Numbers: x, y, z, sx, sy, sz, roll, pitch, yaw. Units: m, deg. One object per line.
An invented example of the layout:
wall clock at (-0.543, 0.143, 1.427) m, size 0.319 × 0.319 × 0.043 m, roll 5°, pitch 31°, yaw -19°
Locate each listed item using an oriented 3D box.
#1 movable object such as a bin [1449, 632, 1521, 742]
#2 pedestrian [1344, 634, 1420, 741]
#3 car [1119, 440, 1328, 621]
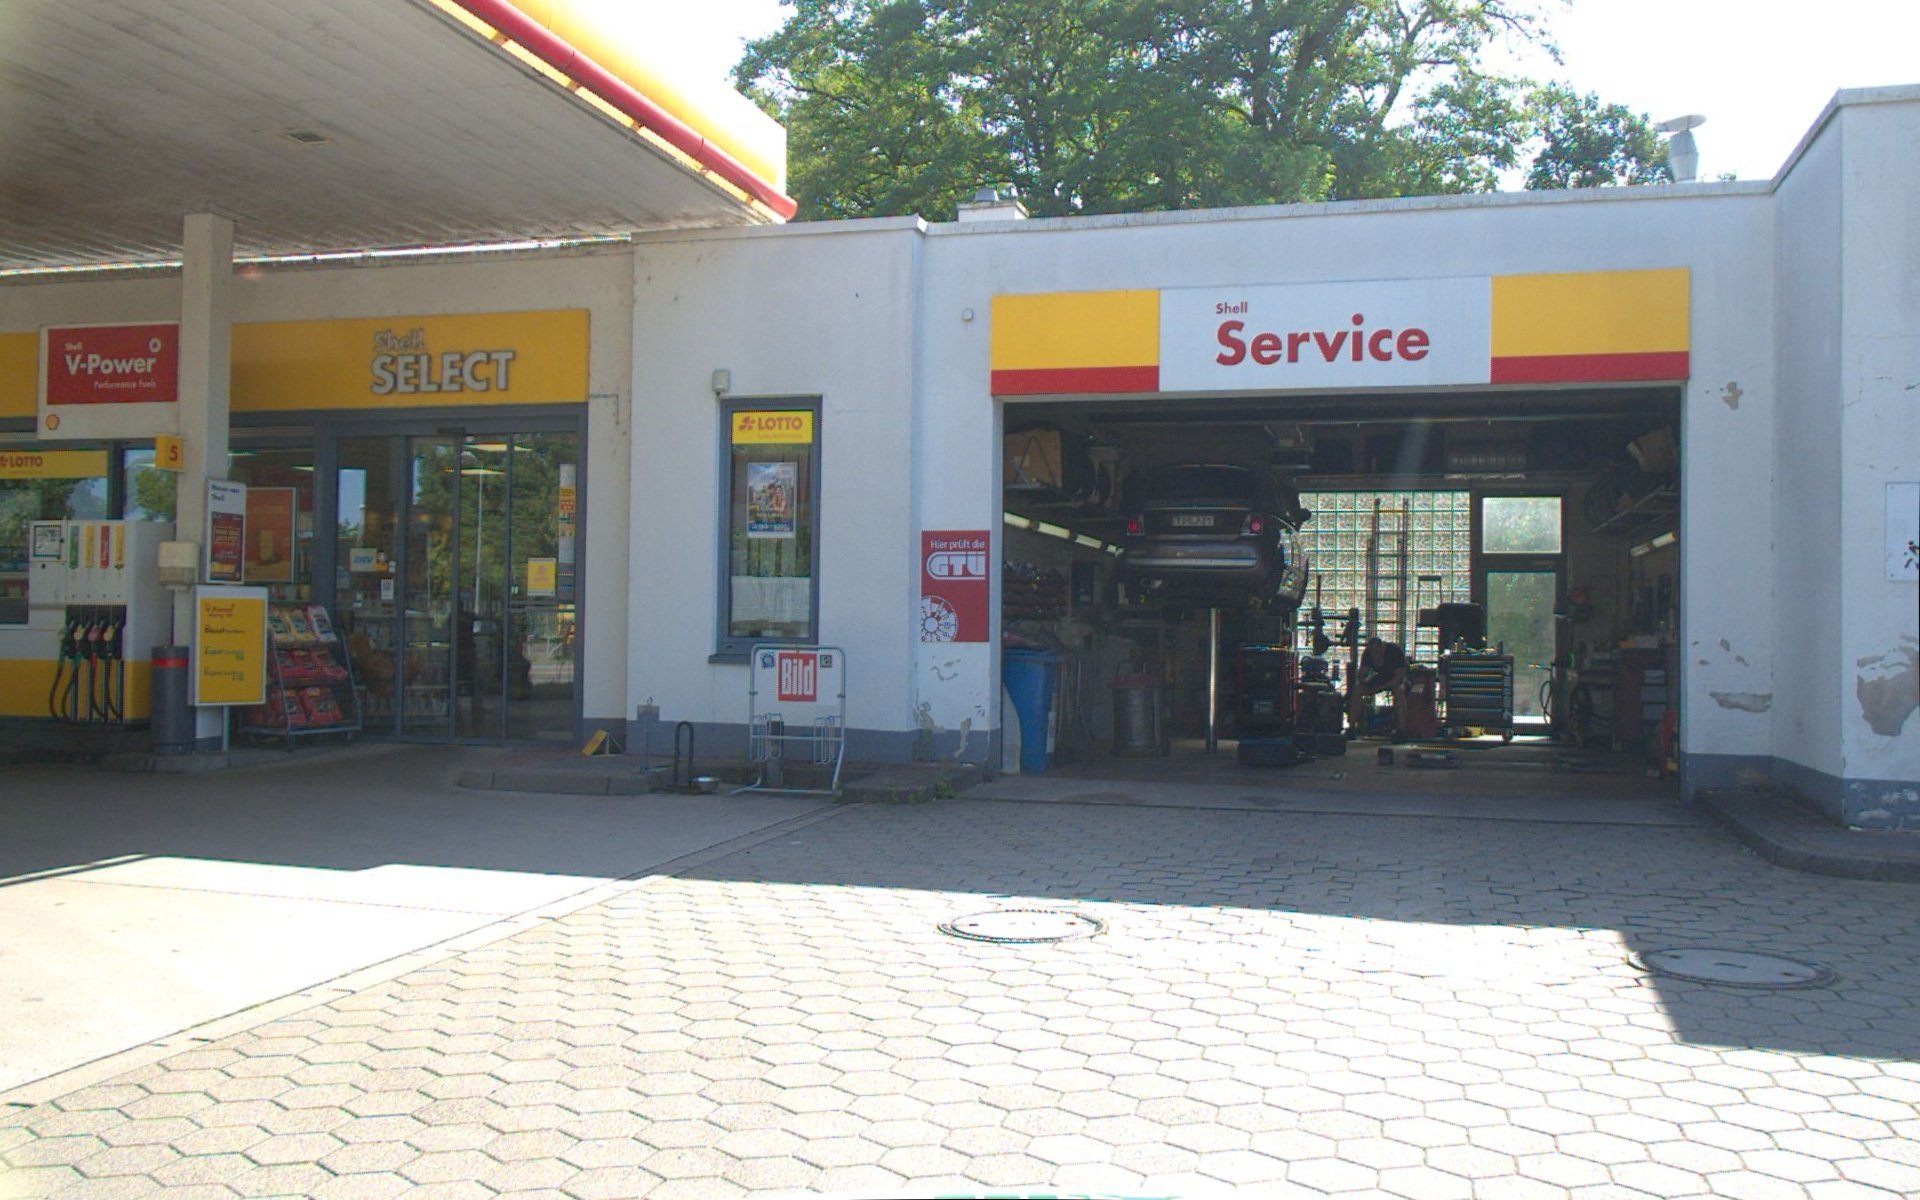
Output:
movable object such as a bin at (6.126, 1.013, 19.322) m, size 0.780 × 1.258 × 0.544 m, roll 0°, pitch -3°, yaw 17°
pedestrian at (4.940, 1.019, 19.371) m, size 0.845 × 1.219 × 0.743 m, roll 0°, pitch -3°, yaw 14°
car at (2.875, -0.616, 17.390) m, size 1.612 × 1.512 × 4.001 m, roll 0°, pitch -3°, yaw 17°
